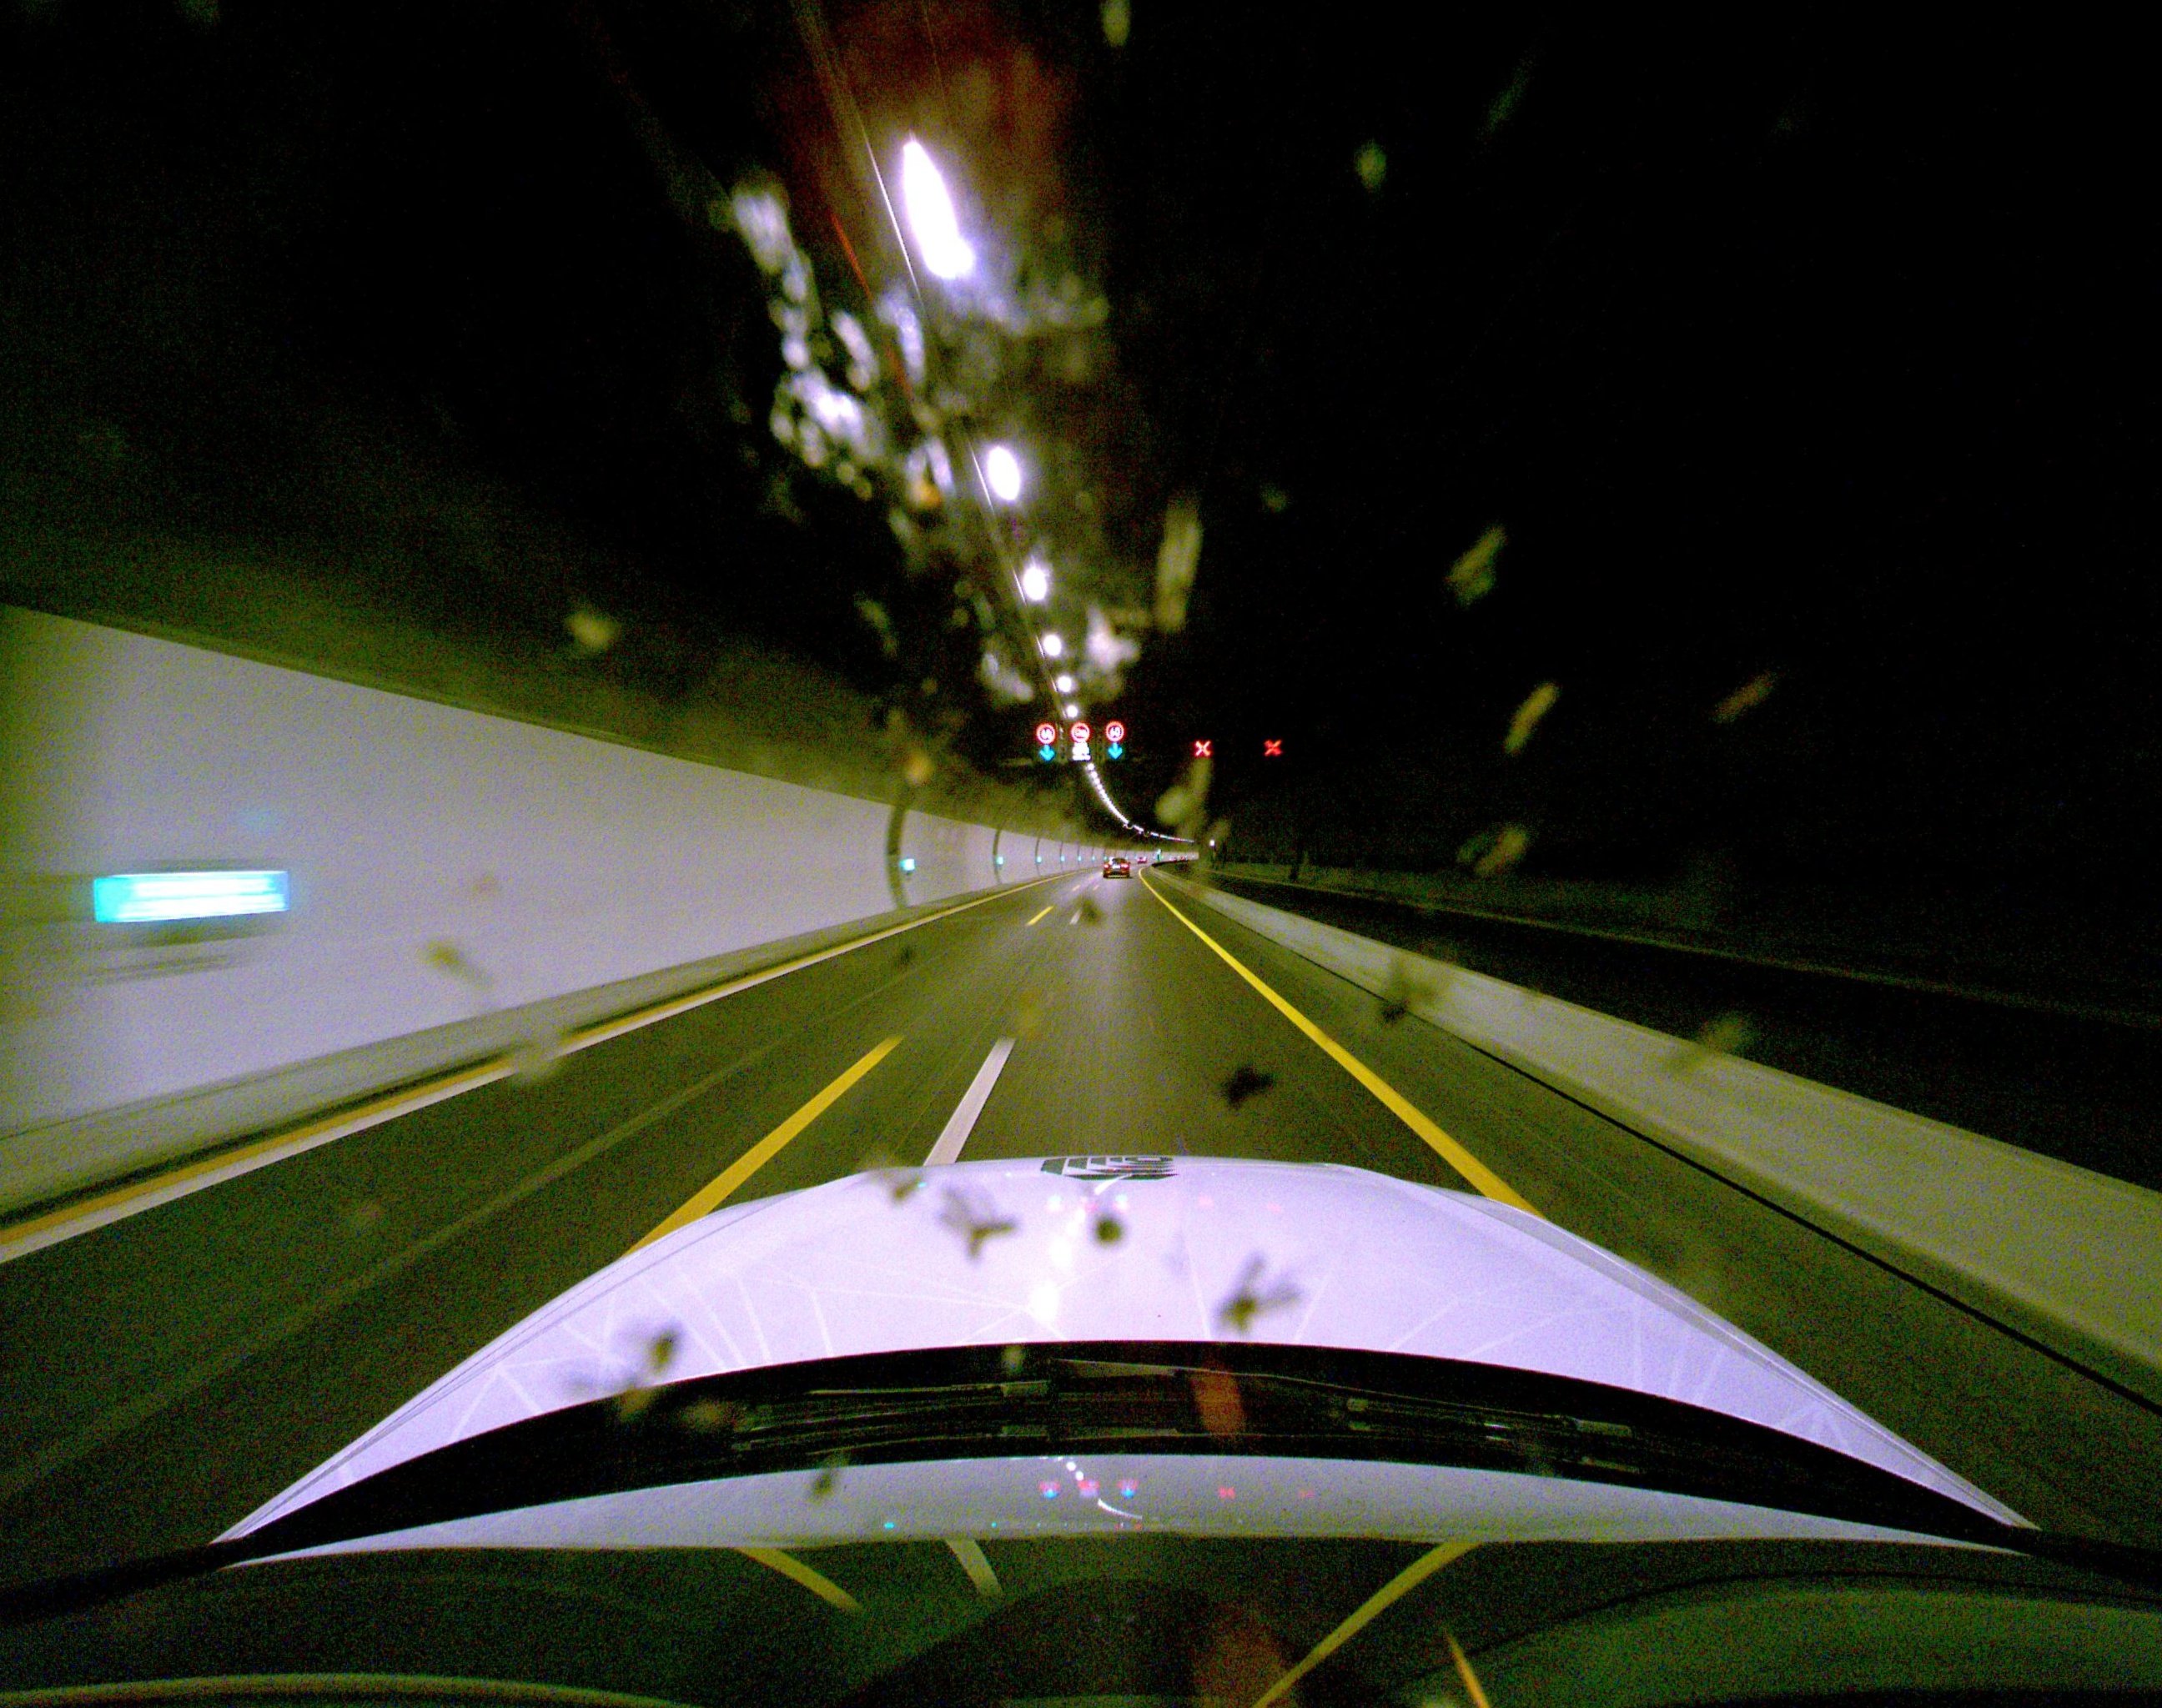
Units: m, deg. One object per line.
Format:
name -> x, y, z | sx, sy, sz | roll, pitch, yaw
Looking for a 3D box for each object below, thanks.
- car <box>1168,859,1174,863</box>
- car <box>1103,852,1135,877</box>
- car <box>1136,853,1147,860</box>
car -> 26.136, 2.023, 236.841 | 1.585, 1.333, 3.760 | -1, 0, 10
car -> 2.705, 0.737, 57.920 | 2.132, 1.706, 4.002 | -1, 0, 2
car -> 13.706, 0.578, 184.880 | 2.153, 1.486, 4.008 | -1, 0, 7
